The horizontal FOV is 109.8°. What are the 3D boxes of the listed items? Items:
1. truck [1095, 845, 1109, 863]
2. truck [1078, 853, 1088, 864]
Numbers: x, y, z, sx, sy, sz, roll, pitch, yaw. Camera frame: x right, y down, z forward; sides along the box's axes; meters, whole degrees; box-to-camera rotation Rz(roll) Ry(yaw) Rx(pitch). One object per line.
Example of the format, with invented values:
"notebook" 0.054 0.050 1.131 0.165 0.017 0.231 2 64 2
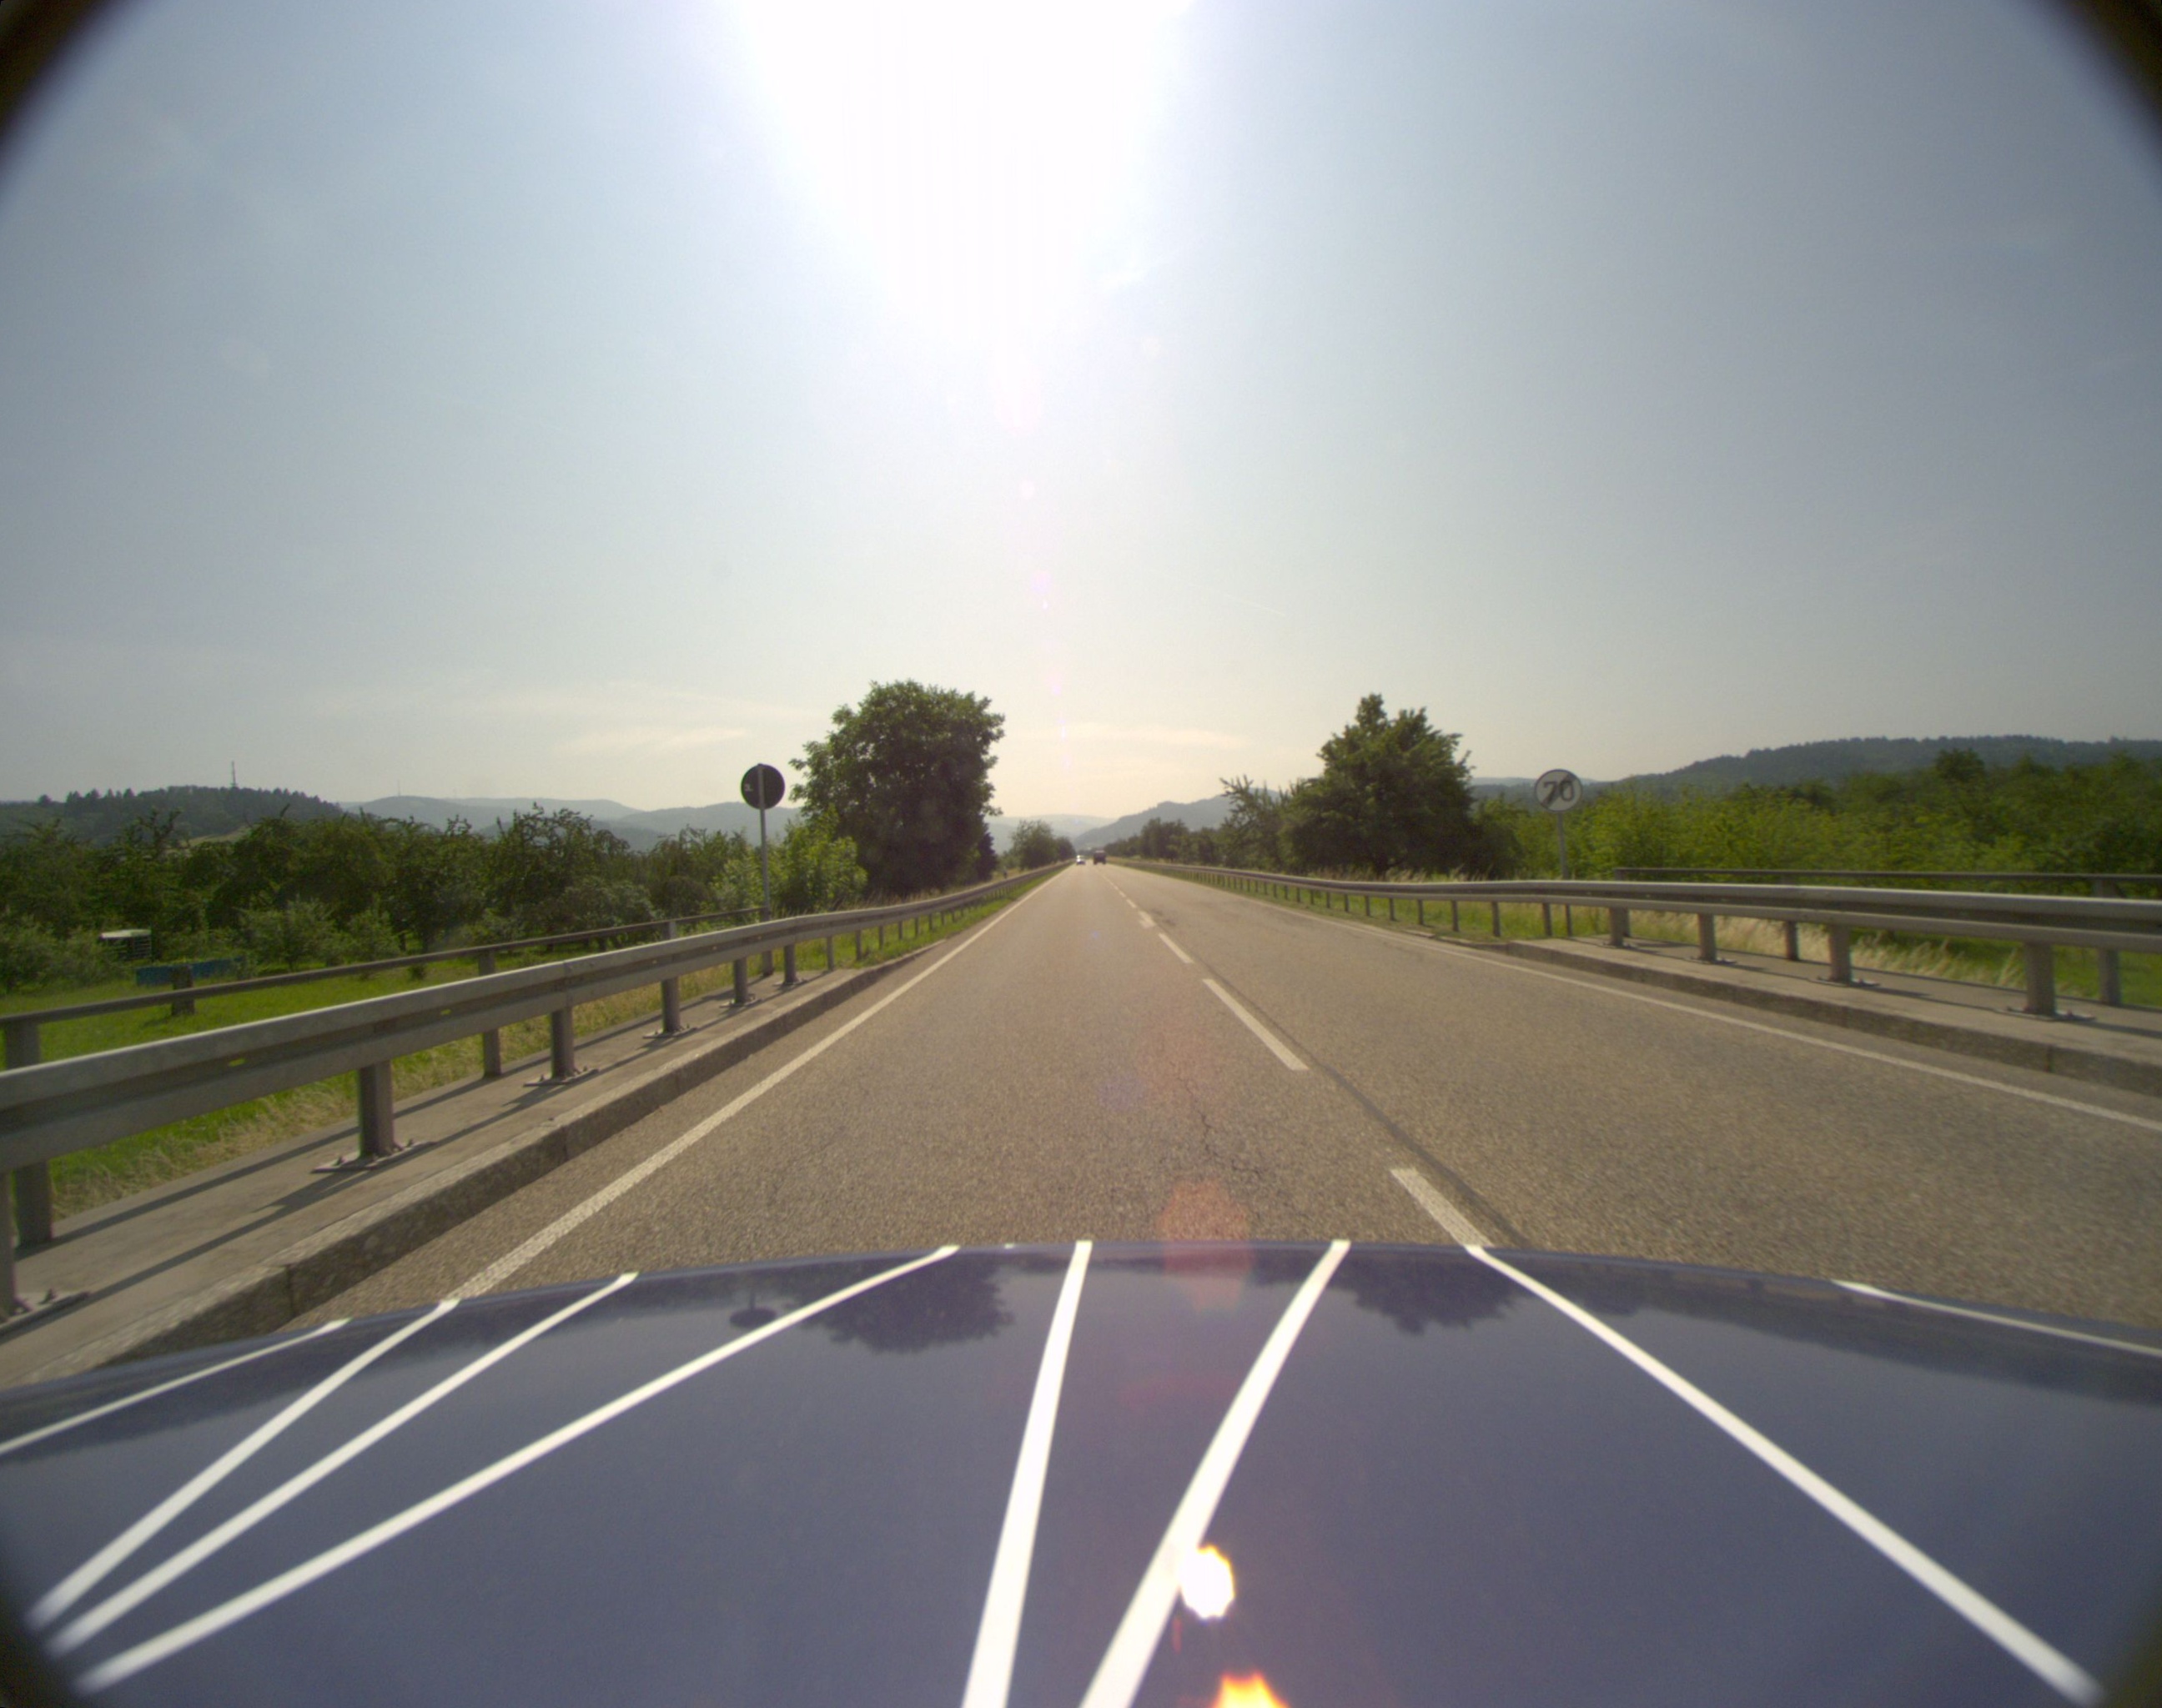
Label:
"truck" 4.424 -0.115 162.869 2.735 3.650 9.382 -2 0 0
"truck" 0.475 0.966 161.852 2.032 2.232 4.764 -2 0 1
